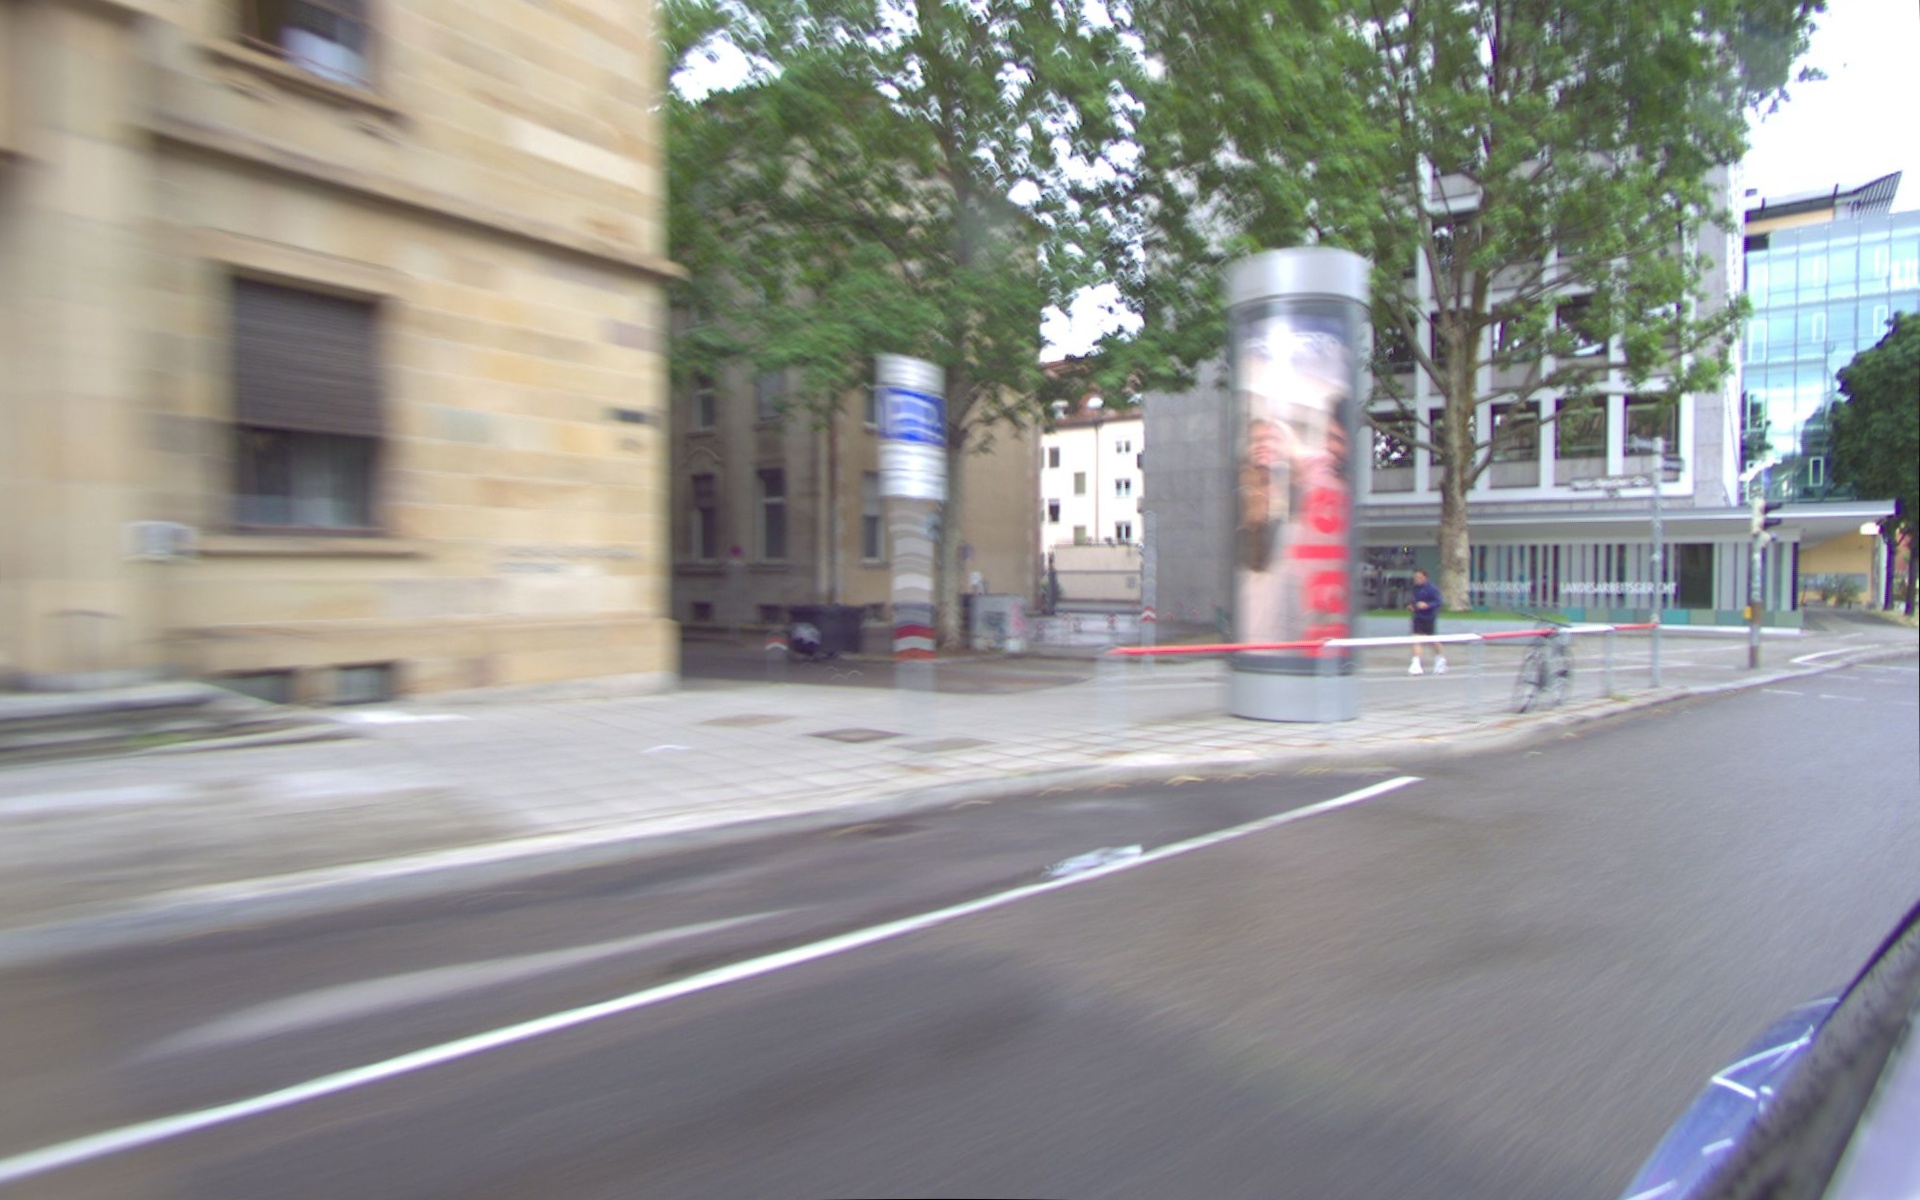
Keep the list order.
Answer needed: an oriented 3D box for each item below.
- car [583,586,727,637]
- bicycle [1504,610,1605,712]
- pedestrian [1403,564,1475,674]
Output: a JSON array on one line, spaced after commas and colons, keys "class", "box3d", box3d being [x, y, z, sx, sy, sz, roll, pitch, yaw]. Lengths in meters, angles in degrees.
[{"class": "car", "box3d": [-10.253, 0.362, 34.307, 1.876, 1.481, 4.489, 5, 2, 33]}, {"class": "bicycle", "box3d": [6.730, 0.645, 11.414, 1.896, 1.025, 0.489, 0, 1, -44]}, {"class": "pedestrian", "box3d": [8.038, 0.297, 16.989, 0.847, 1.794, 0.781, 1, 1, -38]}]
